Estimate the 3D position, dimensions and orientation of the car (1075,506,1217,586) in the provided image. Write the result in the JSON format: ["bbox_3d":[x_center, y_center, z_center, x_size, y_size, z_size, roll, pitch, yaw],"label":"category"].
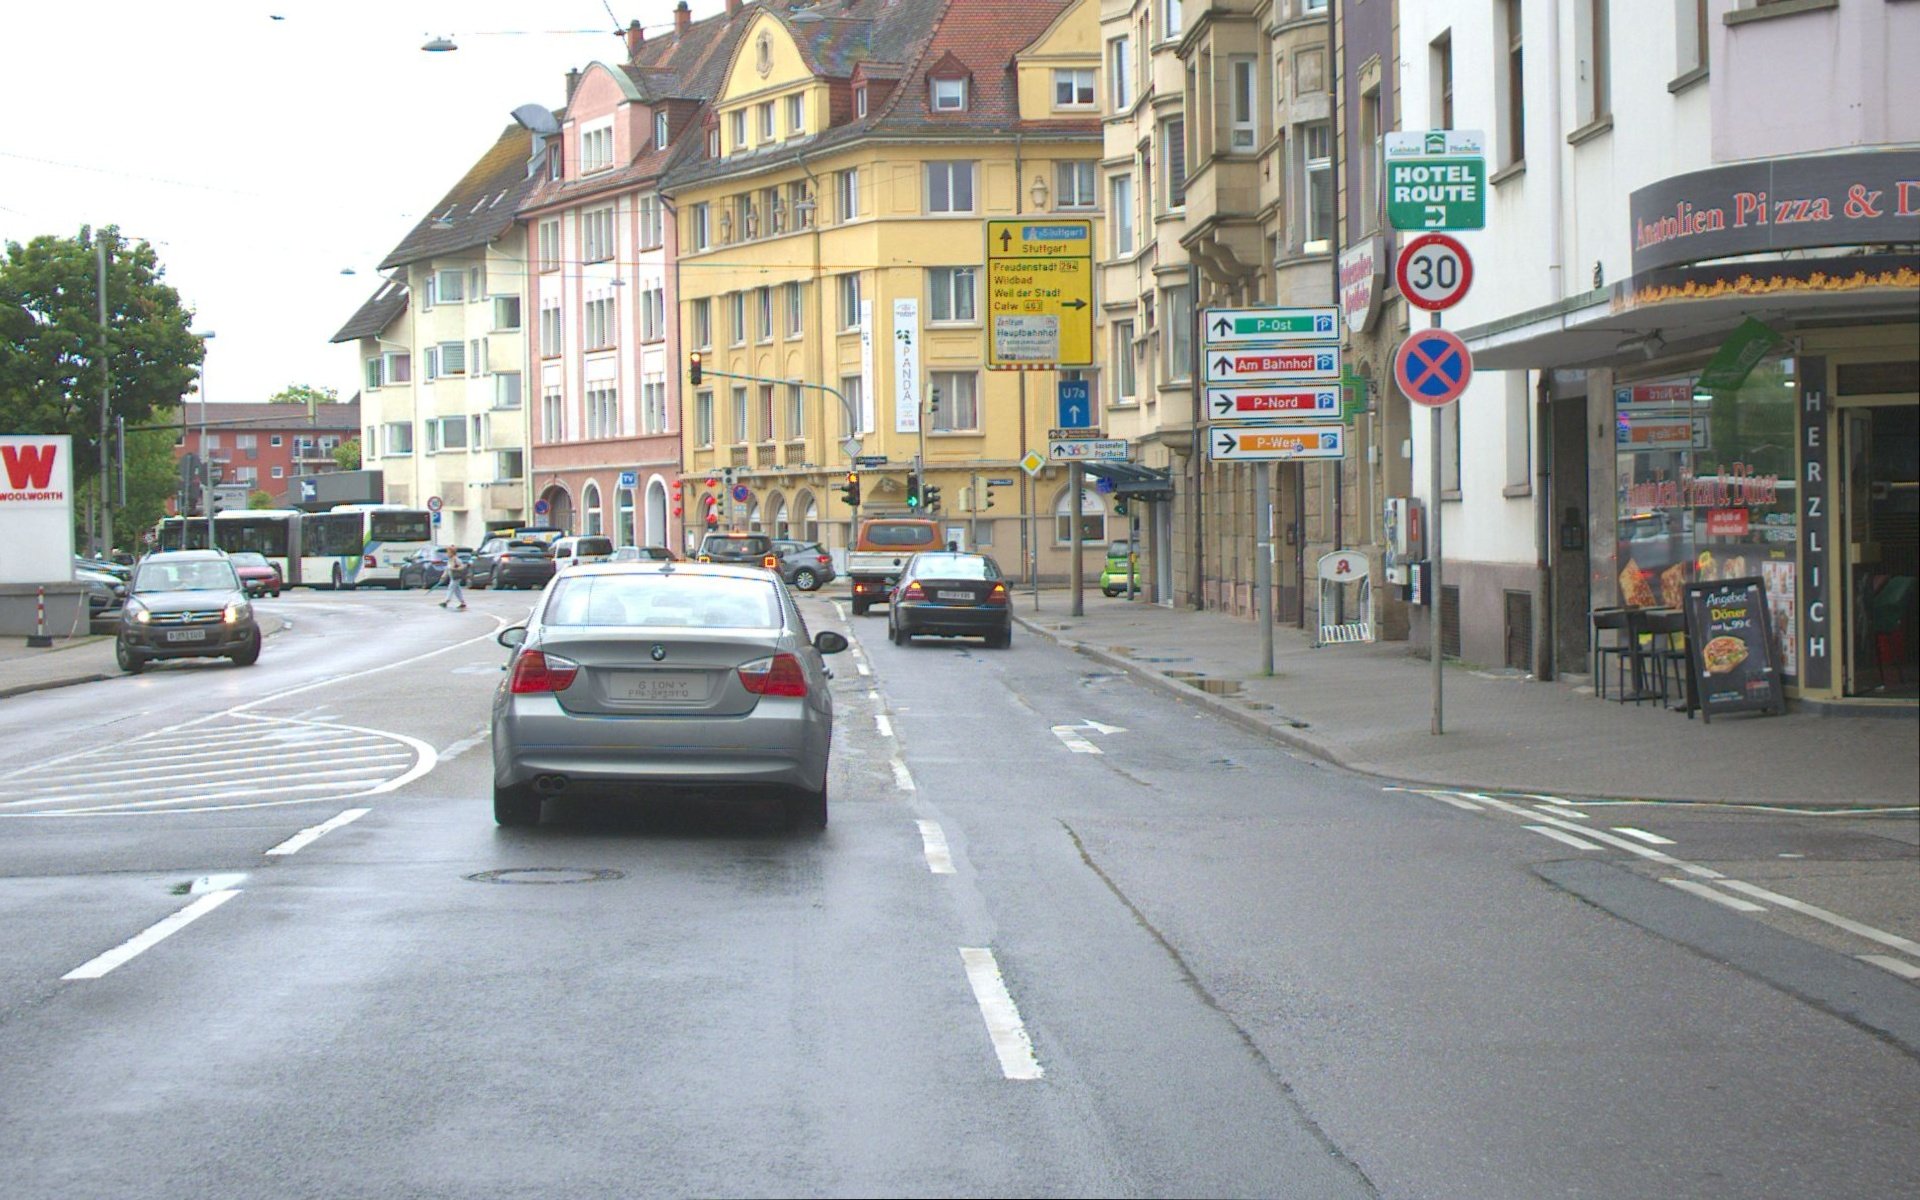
[{"bbox_3d":[4.843,-1.399,88.998,1.997,2.007,3.993,1,1,32],"label":"car"}]

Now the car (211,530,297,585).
[{"bbox_3d":[-22.413,-1.370,108.993,1.844,1.678,4.001,-1,1,-24],"label":"car"}]

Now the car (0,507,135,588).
[{"bbox_3d":[-18.219,-1.021,66.010,4.444,1.521,1.886,1,1,-7],"label":"car"}]

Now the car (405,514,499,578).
[{"bbox_3d":[-16.474,-1.750,111.293,1.993,2.007,4.001,-1,1,-24],"label":"car"}]

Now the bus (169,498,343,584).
[{"bbox_3d":[-26.397,-2.200,128.530,2.909,3.094,8.870,-2,2,-36],"label":"bus"}]

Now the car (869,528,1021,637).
[{"bbox_3d":[-0.265,-0.259,51.168,1.799,1.558,4.001,0,0,-7],"label":"car"}]

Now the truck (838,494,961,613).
[{"bbox_3d":[-1.225,-0.921,67.546,2.224,2.242,5.063,0,1,-3],"label":"truck"}]

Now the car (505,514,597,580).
[{"bbox_3d":[-14.180,-1.846,119.092,1.761,2.173,4.001,2,0,-28],"label":"car"}]

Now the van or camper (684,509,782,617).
[{"bbox_3d":[-4.701,-0.776,70.779,1.854,2.139,4.143,-1,1,-6],"label":"van or camper"}]

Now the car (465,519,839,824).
[{"bbox_3d":[-1.652,0.357,19.093,1.799,1.459,4.371,1,0,-4],"label":"car"}]

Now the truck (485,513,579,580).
[{"bbox_3d":[-15.604,-1.965,125.068,2.026,2.381,4.237,0,1,-28],"label":"truck"}]

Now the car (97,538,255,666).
[{"bbox_3d":[-11.106,-0.013,48.533,1.947,1.653,4.058,-2,1,-15],"label":"car"}]

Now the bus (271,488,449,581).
[{"bbox_3d":[-21.189,-2.302,120.985,2.909,3.094,9.143,-2,2,-32],"label":"bus"}]

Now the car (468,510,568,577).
[{"bbox_3d":[-13.594,-1.741,105.576,1.993,2.007,4.001,-1,1,-23],"label":"car"}]

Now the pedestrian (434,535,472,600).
[{"bbox_3d":[-11.937,-0.761,80.917,0.760,1.524,0.508,1,0,-23],"label":"pedestrian"}]
